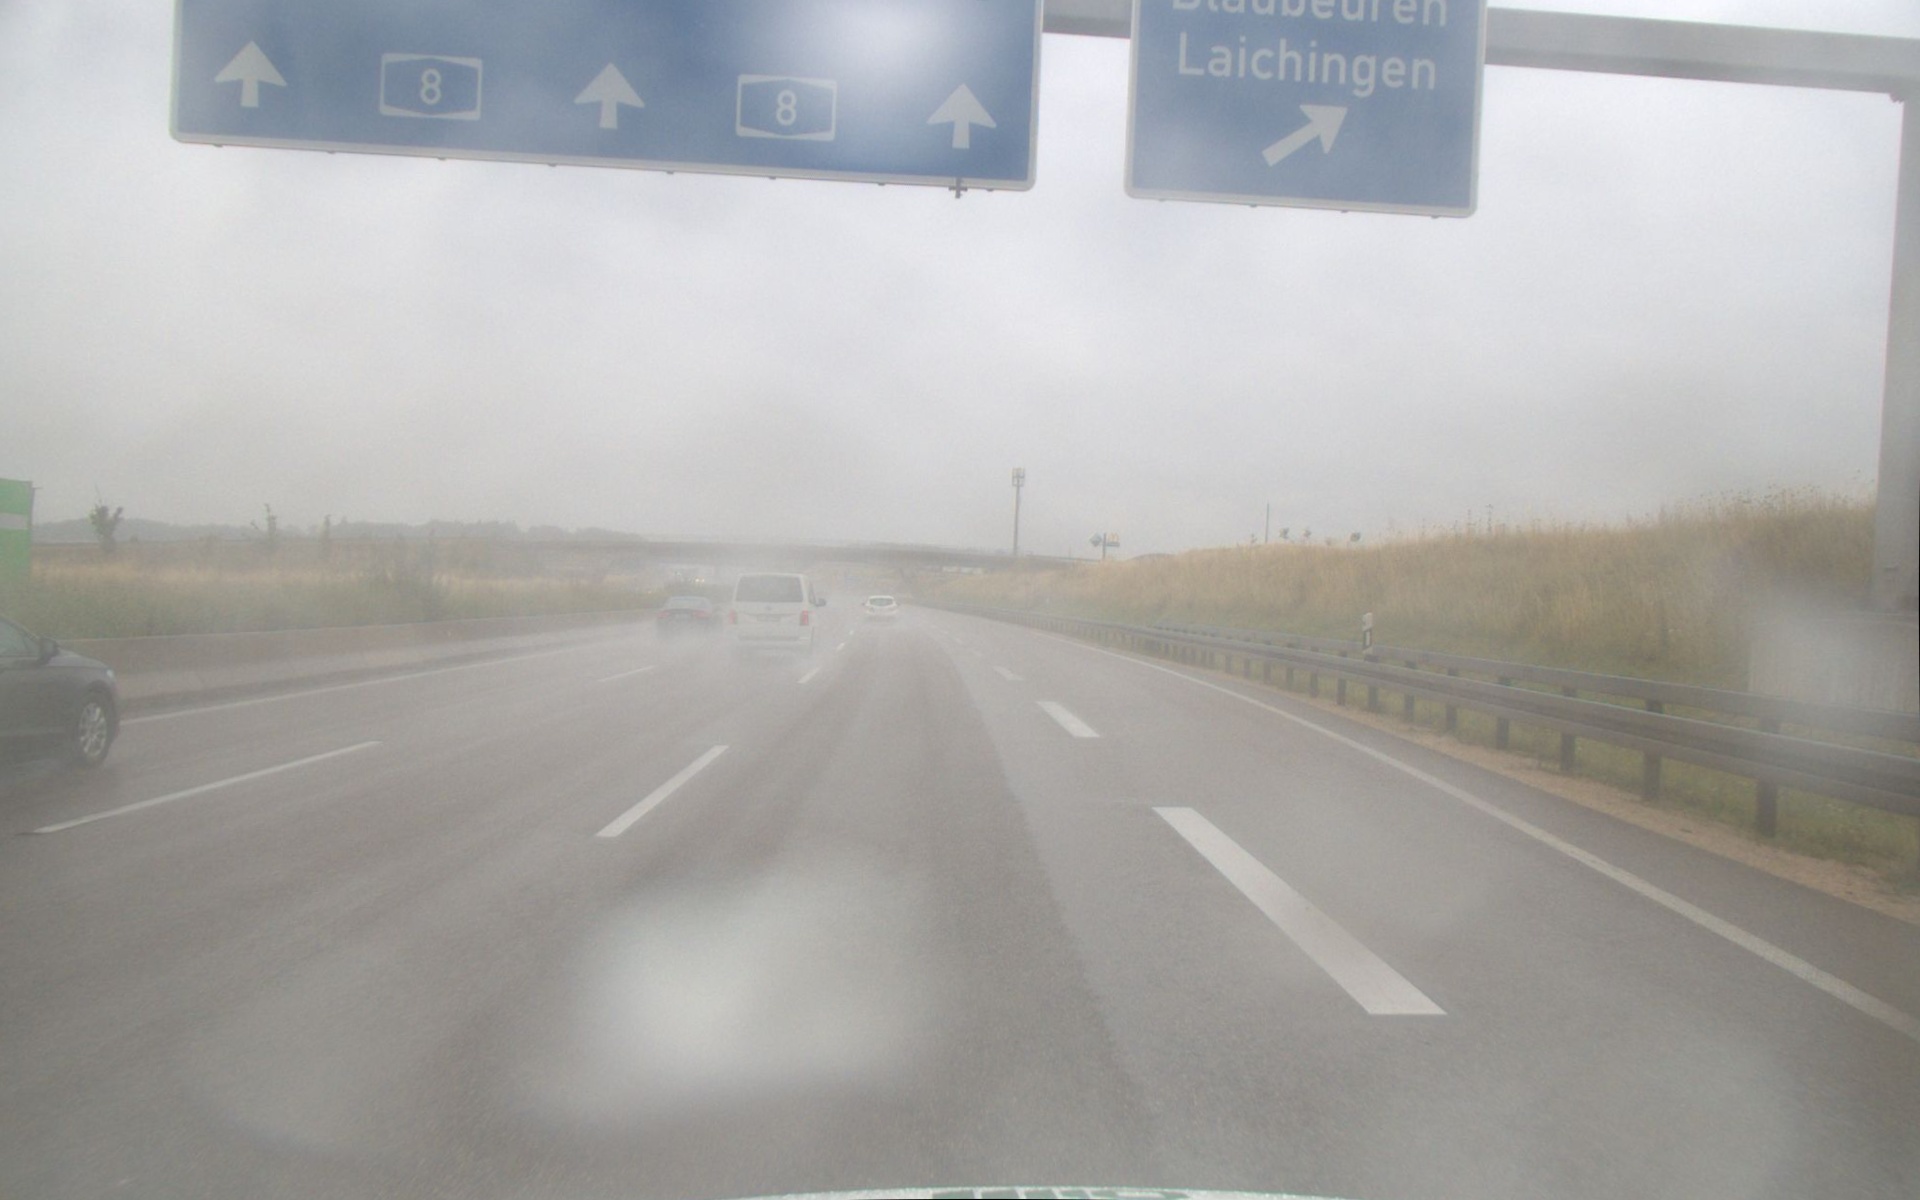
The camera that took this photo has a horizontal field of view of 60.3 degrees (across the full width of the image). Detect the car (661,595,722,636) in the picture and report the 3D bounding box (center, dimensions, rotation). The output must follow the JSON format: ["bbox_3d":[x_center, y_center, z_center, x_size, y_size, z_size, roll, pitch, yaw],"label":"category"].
[{"bbox_3d":[-8.572,0.485,53.018,1.438,1.279,3.339,1,0,-1],"label":"car"}]

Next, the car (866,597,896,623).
[{"bbox_3d":[-3.896,0.475,81.650,1.438,1.229,2.990,1,0,-2],"label":"car"}]

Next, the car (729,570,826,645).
[{"bbox_3d":[-4.161,0.162,38.232,1.859,1.613,3.999,1,0,-2],"label":"car"}]

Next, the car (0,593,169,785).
[{"bbox_3d":[-7.798,0.642,12.699,1.580,1.378,3.999,1,0,-1],"label":"car"}]

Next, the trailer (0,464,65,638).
[{"bbox_3d":[-23.606,-1.164,35.048,1.953,4.110,14.297,1,0,-2],"label":"trailer"}]
